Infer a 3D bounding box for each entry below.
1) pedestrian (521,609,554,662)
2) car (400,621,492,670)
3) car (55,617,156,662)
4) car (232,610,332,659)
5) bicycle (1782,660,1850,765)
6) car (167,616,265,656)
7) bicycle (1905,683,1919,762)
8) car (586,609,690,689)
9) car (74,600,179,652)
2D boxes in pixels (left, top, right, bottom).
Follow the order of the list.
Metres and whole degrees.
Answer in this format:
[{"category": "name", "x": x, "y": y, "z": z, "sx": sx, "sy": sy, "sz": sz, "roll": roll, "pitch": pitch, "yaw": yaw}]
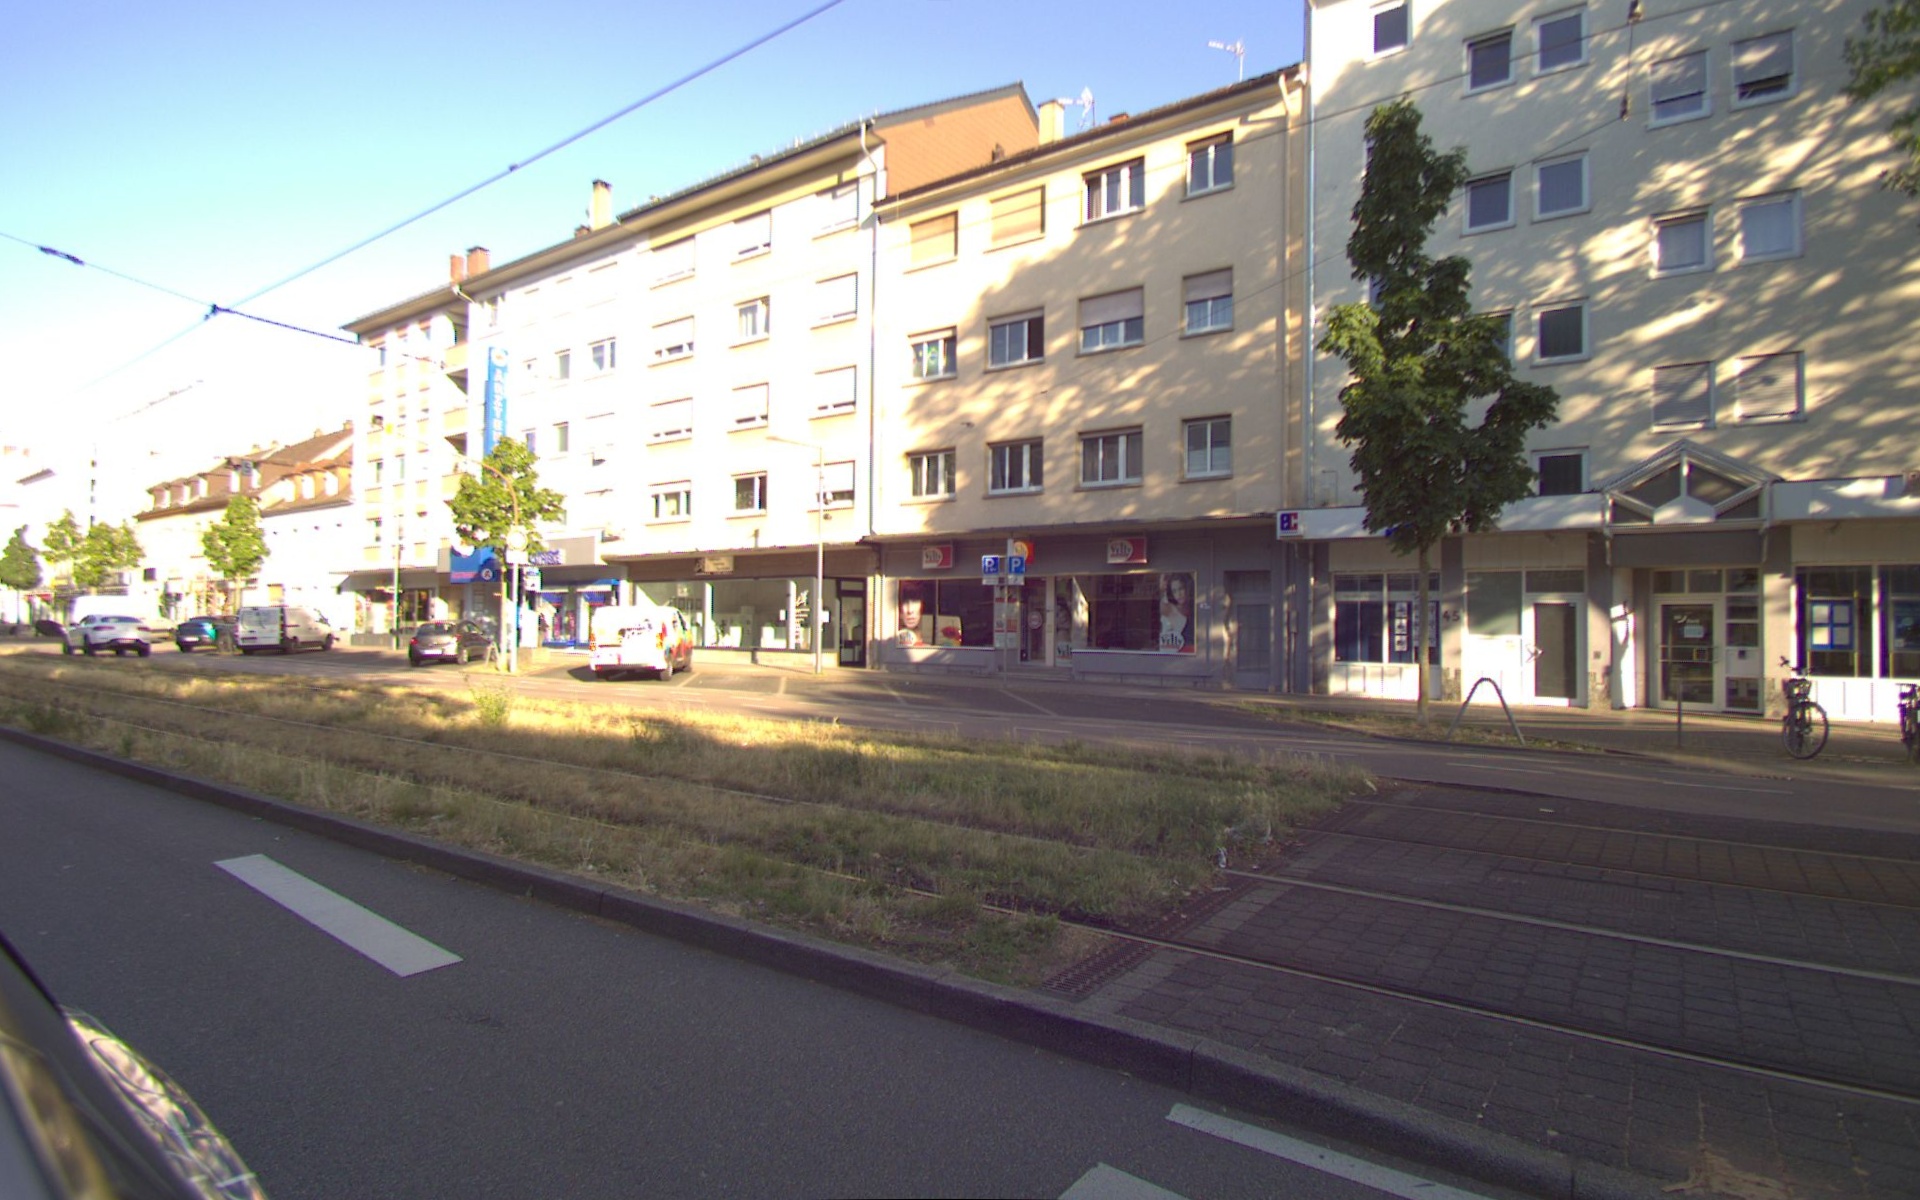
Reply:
[{"category": "pedestrian", "x": -15.059, "y": 1.247, "z": 36.070, "sx": 0.916, "sy": 1.841, "sz": 0.748, "roll": -1, "pitch": -1, "yaw": 39}, {"category": "car", "x": -17.180, "y": 1.475, "z": 34.023, "sx": 1.708, "sy": 1.508, "sz": 4.009, "roll": 0, "pitch": 0, "yaw": -10}, {"category": "car", "x": -32.305, "y": 1.453, "z": 38.220, "sx": 4.440, "sy": 1.592, "sz": 1.825, "roll": -1, "pitch": -2, "yaw": 35}, {"category": "car", "x": -28.262, "y": 1.388, "z": 42.348, "sx": 1.828, "sy": 1.952, "sz": 4.514, "roll": 0, "pitch": -1, "yaw": -10}, {"category": "bicycle", "x": 10.675, "y": 1.367, "z": 12.657, "sx": 0.511, "sy": 1.147, "sz": 1.724, "roll": -1, "pitch": -1, "yaw": 36}, {"category": "car", "x": -33.931, "y": 1.603, "z": 46.293, "sx": 1.830, "sy": 1.727, "sz": 3.919, "roll": 0, "pitch": 0, "yaw": -5}, {"category": "bicycle", "x": 11.719, "y": 1.487, "z": 12.049, "sx": 0.471, "sy": 0.895, "sz": 1.724, "roll": -1, "pitch": -1, "yaw": 36}, {"category": "car", "x": -8.419, "y": 1.208, "z": 26.804, "sx": 1.830, "sy": 1.913, "sz": 4.005, "roll": 0, "pitch": 0, "yaw": -6}, {"category": "car", "x": -44.989, "y": 1.334, "z": 54.848, "sx": 1.895, "sy": 2.634, "sz": 6.608, "roll": 0, "pitch": -1, "yaw": -16}]
